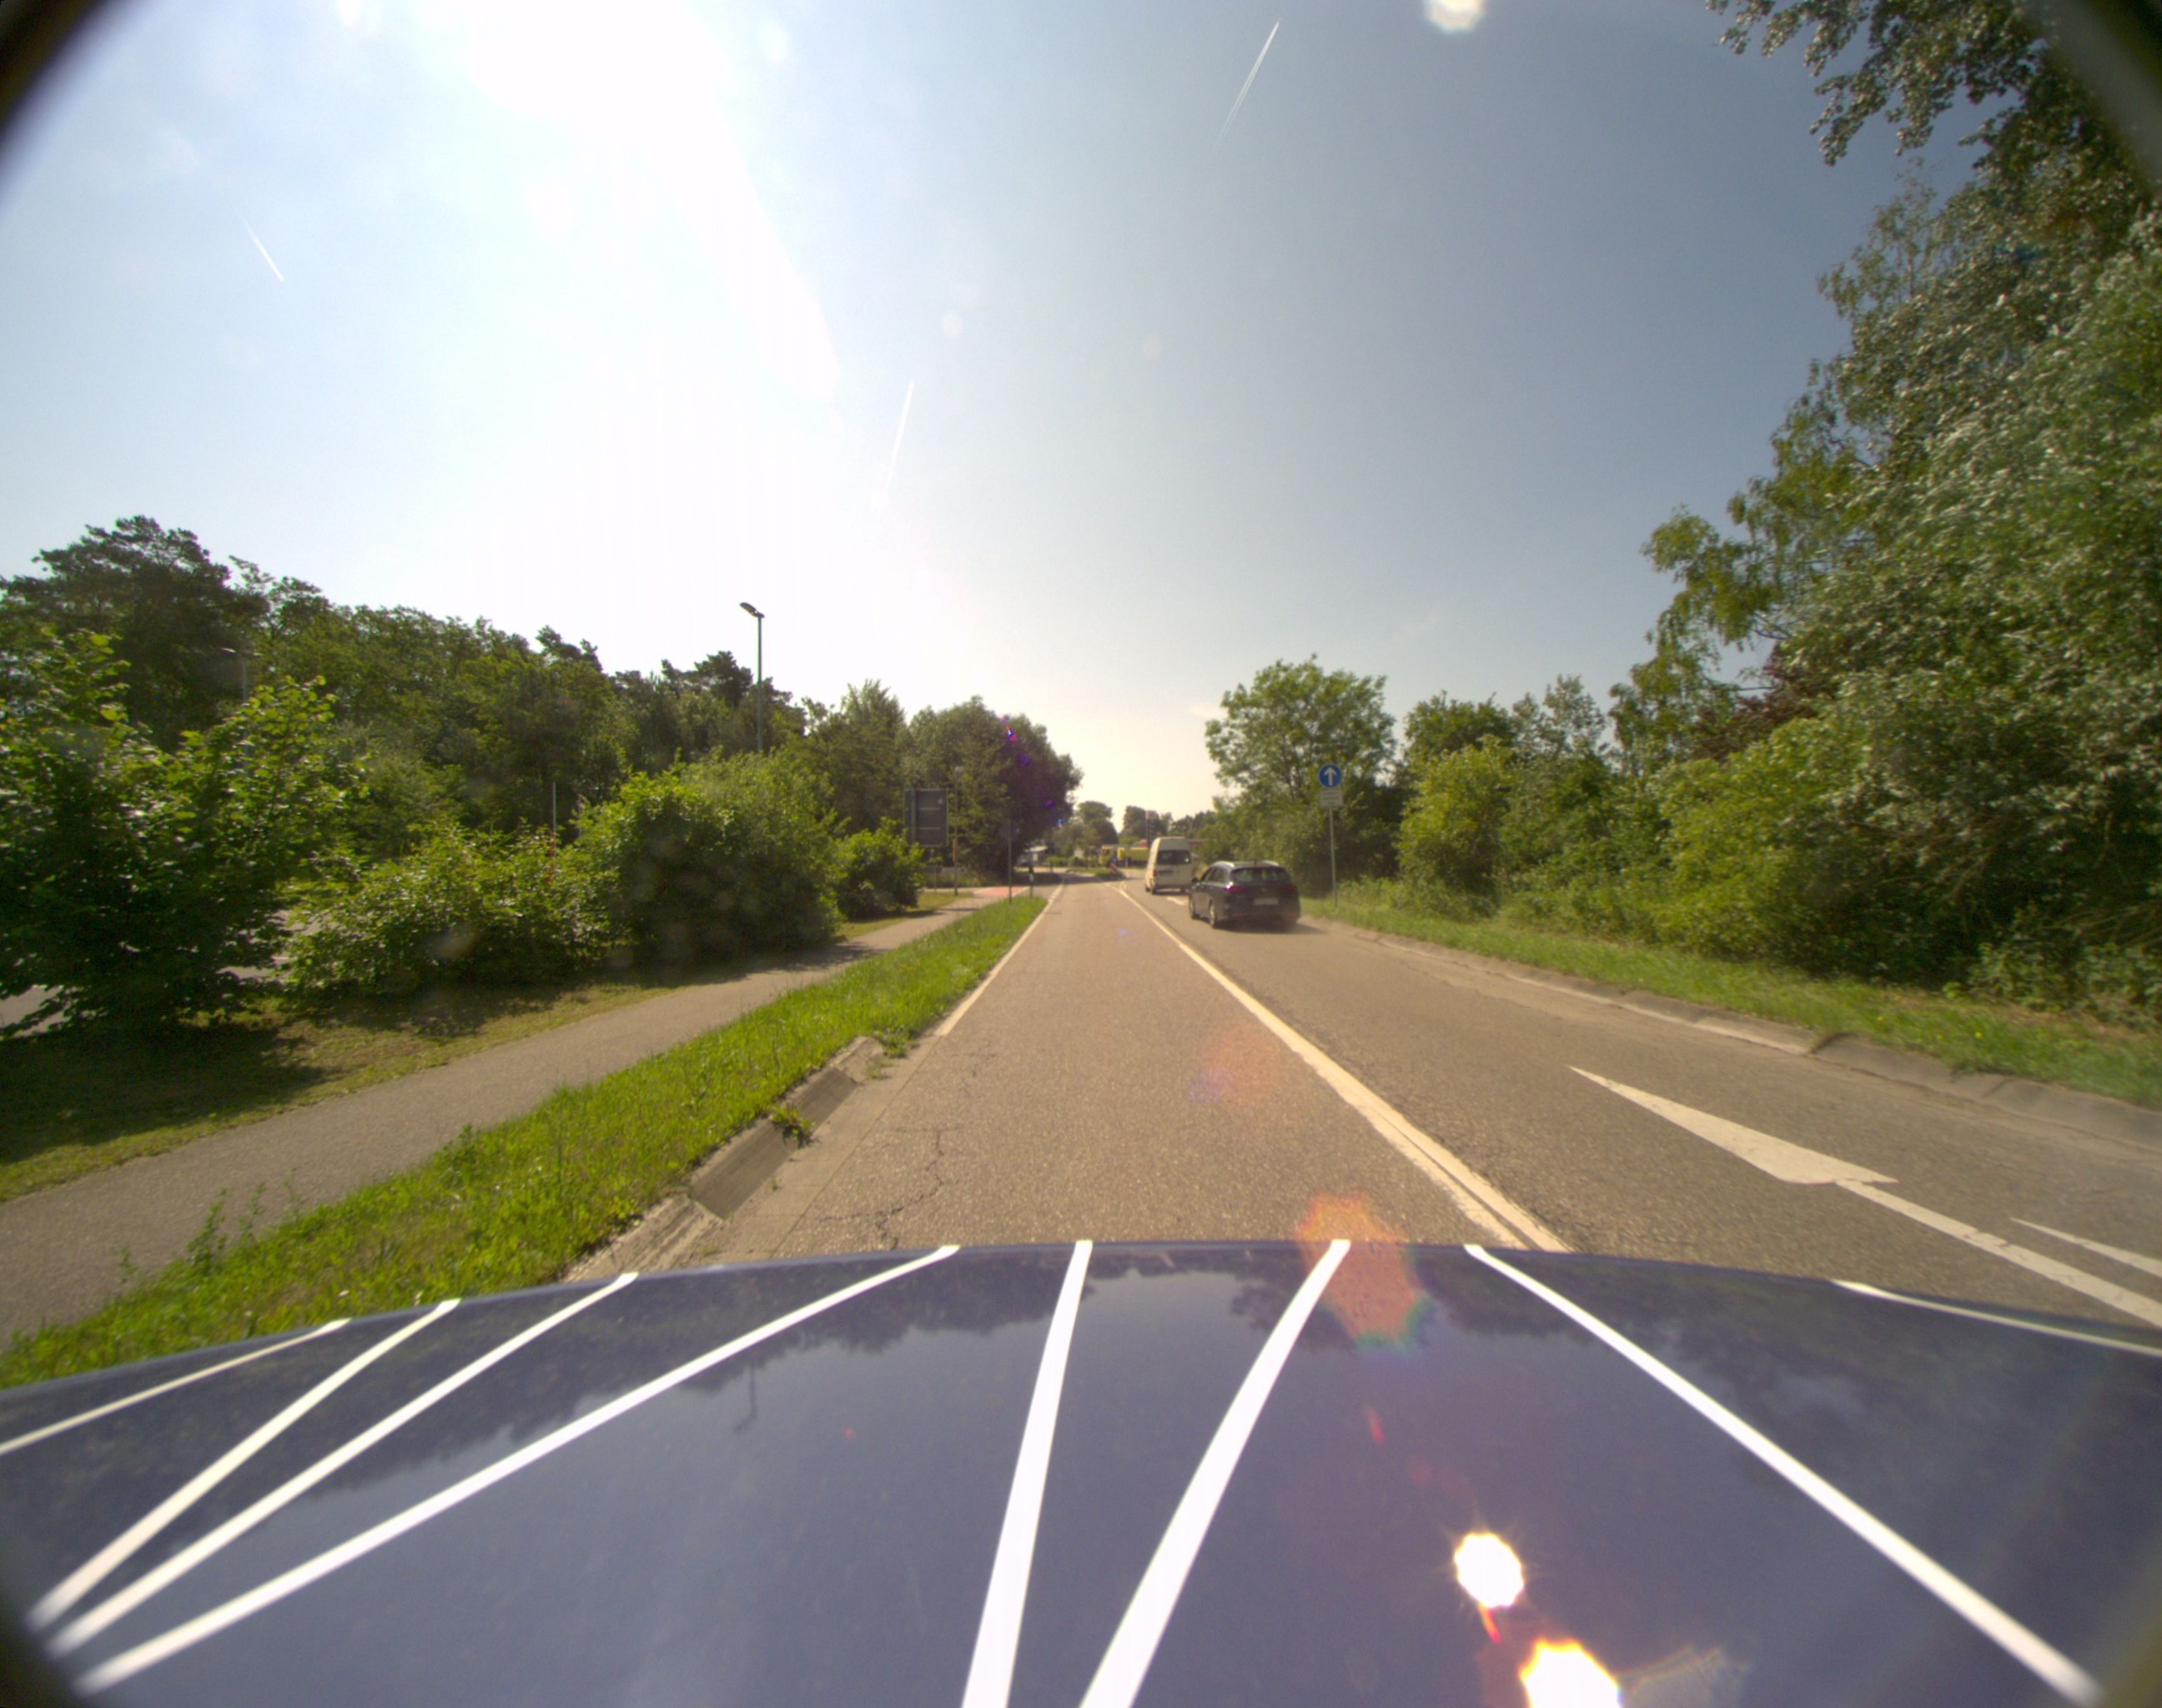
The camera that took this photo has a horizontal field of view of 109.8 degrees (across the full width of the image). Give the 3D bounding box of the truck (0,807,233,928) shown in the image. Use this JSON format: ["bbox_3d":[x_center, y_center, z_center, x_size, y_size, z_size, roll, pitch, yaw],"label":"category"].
[{"bbox_3d":[-23.517,0.294,17.428,5.613,2.590,2.203,0,0,0],"label":"truck"}]

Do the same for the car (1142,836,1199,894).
[{"bbox_3d":[3.891,0.443,33.803,1.917,2.386,4.910,0,0,0],"label":"car"}]

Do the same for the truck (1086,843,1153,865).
[{"bbox_3d":[5.967,-0.006,120.122,10.334,3.374,3.884,0,0,-2],"label":"truck"}]

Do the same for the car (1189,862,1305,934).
[{"bbox_3d":[3.630,0.906,17.361,1.703,1.381,4.294,0,0,0],"label":"car"}]

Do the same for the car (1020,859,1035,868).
[{"bbox_3d":[-9.787,1.691,138.403,1.831,1.630,3.830,0,0,-20],"label":"car"}]

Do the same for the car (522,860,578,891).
[{"bbox_3d":[-27.849,1.078,39.962,1.762,1.522,4.364,0,0,-26],"label":"car"}]

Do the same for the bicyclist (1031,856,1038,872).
[{"bbox_3d":[-5.067,1.050,82.251,0.638,1.720,0.978,-2,0,2],"label":"bicyclist"}]

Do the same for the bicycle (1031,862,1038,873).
[{"bbox_3d":[-5.054,1.454,82.192,0.591,1.117,1.520,-2,0,2],"label":"bicycle"}]

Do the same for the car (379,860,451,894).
[{"bbox_3d":[-32.374,1.066,37.037,1.762,1.522,3.657,0,0,-26],"label":"car"}]
